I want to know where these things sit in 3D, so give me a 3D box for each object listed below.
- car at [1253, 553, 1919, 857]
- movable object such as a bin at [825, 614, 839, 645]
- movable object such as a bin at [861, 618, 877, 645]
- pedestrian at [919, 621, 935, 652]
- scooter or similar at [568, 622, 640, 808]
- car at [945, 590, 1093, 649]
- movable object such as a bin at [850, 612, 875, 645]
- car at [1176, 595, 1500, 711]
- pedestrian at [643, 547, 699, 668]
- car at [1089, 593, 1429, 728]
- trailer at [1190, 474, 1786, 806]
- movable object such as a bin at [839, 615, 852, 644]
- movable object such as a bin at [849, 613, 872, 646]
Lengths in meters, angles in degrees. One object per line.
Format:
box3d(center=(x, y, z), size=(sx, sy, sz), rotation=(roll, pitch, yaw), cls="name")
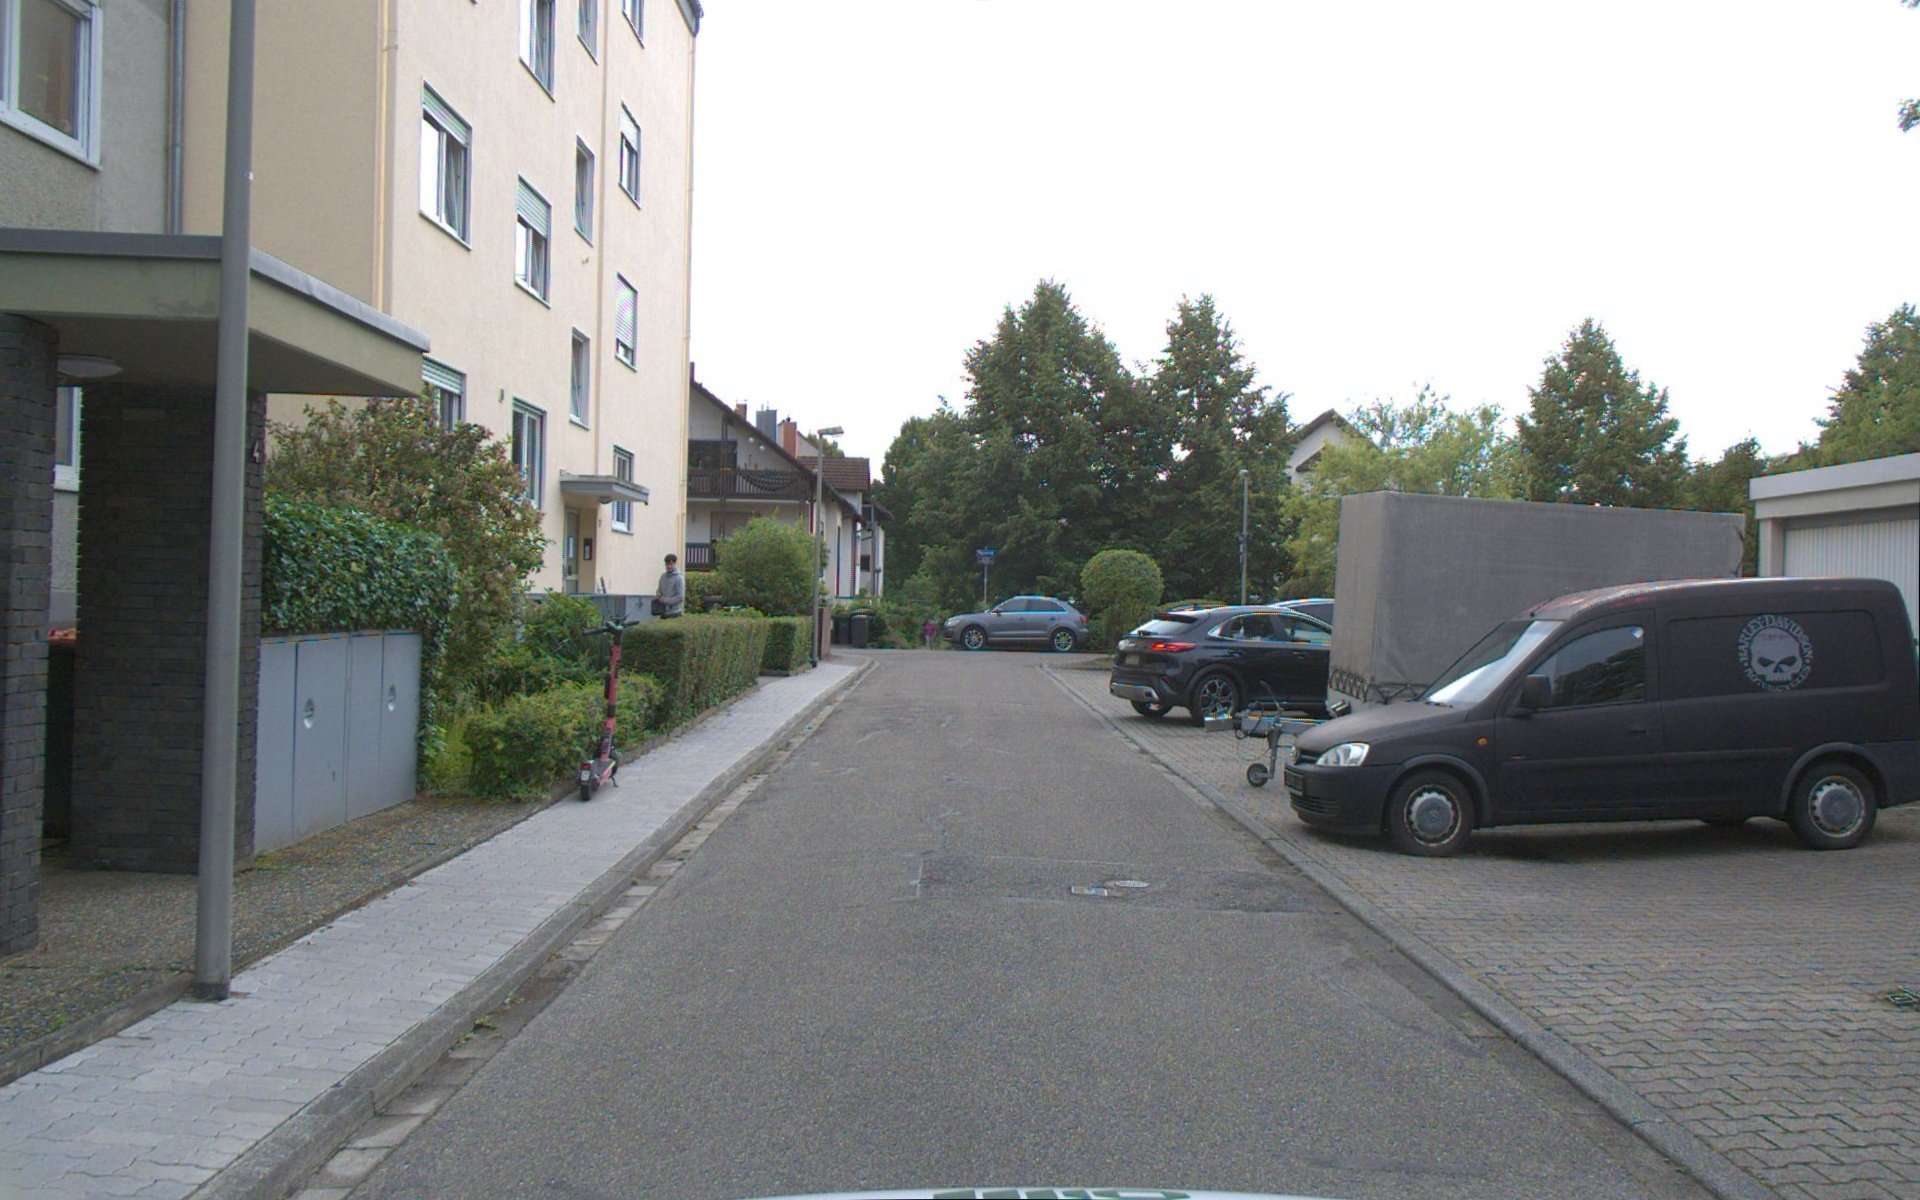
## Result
box3d(center=(4.357, 0.653, 11.529), size=(4.223, 1.833, 2.000), rotation=(-1, 0, -1), cls="car")
box3d(center=(-3.966, 0.911, 51.213), size=(0.378, 0.917, 0.379), rotation=(2, 0, -3), cls="movable object such as a bin")
box3d(center=(-2.836, 0.984, 51.621), size=(0.450, 0.811, 0.379), rotation=(2, 0, -3), cls="movable object such as a bin")
box3d(center=(-1.646, 1.823, 82.914), size=(0.799, 1.544, 0.438), rotation=(1, -1, -3), cls="pedestrian")
box3d(center=(-2.521, 0.786, 11.775), size=(0.267, 1.232, 1.164), rotation=(1, 0, -1), cls="scooter or similar")
box3d(center=(1.674, 0.578, 47.600), size=(4.151, 1.558, 1.747), rotation=(1, -2, -1), cls="car")
box3d(center=(-2.966, 0.863, 50.386), size=(0.718, 0.970, 0.584), rotation=(2, 0, -1), cls="movable object such as a bin")
box3d(center=(5.587, 0.762, 24.905), size=(4.443, 1.616, 1.988), rotation=(1, 0, 1), cls="car")
box3d(center=(-4.357, 0.113, 24.981), size=(0.665, 1.779, 0.756), rotation=(2, 0, -2), cls="pedestrian")
box3d(center=(3.874, 0.731, 21.658), size=(3.923, 1.579, 1.991), rotation=(-1, 0, -17), cls="car")
box3d(center=(4.409, 0.322, 14.345), size=(4.515, 2.569, 1.942), rotation=(1, 0, 0), cls="trailer")
box3d(center=(-3.553, 0.911, 51.232), size=(0.378, 0.905, 0.379), rotation=(2, 0, -3), cls="movable object such as a bin")
box3d(center=(-2.970, 0.876, 49.606), size=(0.625, 0.970, 0.723), rotation=(2, 0, -2), cls="movable object such as a bin")
